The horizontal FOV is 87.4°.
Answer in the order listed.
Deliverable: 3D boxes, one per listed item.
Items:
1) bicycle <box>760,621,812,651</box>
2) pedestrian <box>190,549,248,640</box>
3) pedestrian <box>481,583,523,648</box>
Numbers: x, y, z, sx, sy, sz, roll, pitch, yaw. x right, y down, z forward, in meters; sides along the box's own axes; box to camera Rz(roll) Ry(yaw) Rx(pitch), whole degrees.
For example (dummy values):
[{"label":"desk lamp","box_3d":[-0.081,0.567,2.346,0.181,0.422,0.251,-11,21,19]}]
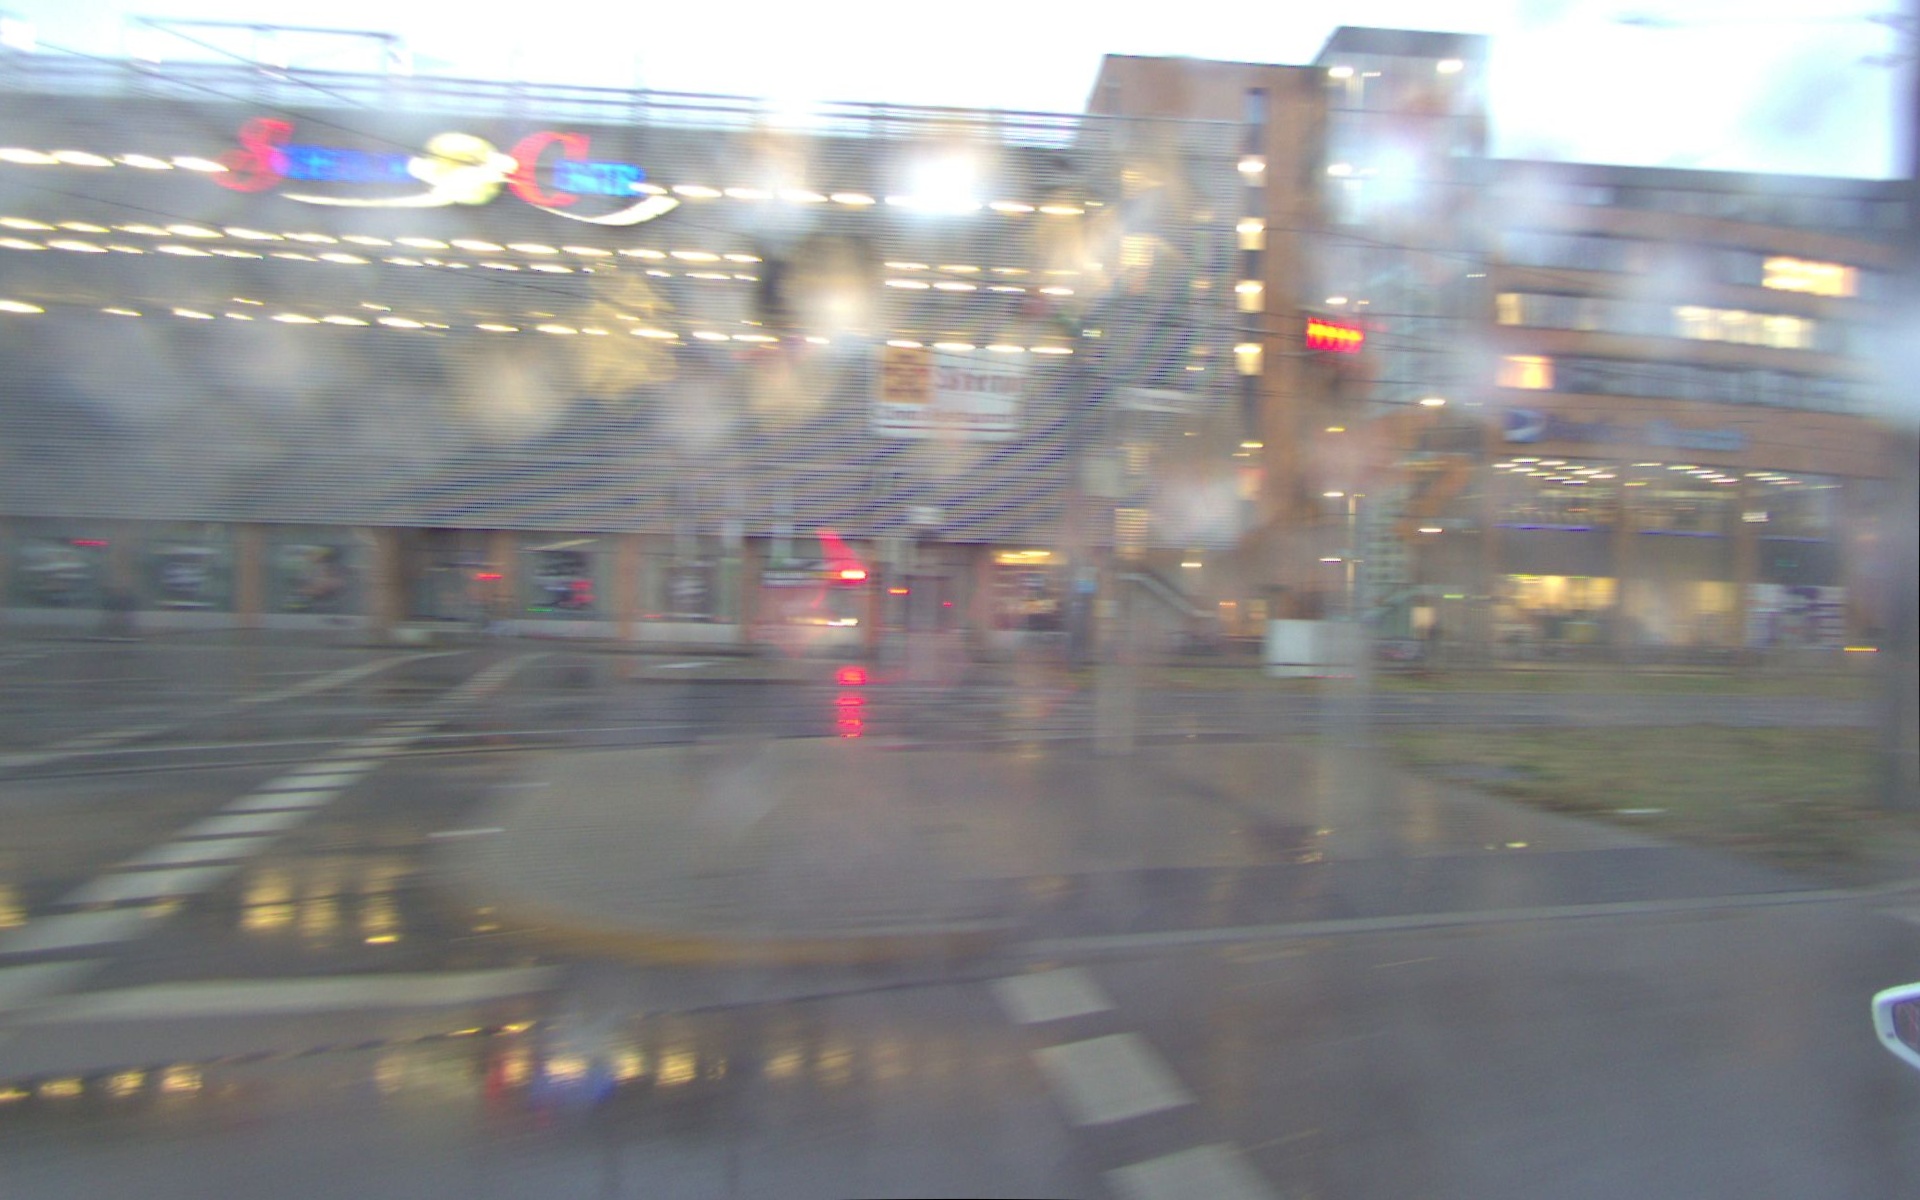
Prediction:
[{"label":"bicycle","box_3d":[-7.306,1.506,42.242,2.051,1.136,0.477,3,-1,-3]},{"label":"pedestrian","box_3d":[-25.134,-0.169,34.095,0.947,2.963,1.113,3,-1,-2]},{"label":"pedestrian","box_3d":[-18.024,0.604,39.557,1.092,2.471,0.966,3,-1,-2]}]
